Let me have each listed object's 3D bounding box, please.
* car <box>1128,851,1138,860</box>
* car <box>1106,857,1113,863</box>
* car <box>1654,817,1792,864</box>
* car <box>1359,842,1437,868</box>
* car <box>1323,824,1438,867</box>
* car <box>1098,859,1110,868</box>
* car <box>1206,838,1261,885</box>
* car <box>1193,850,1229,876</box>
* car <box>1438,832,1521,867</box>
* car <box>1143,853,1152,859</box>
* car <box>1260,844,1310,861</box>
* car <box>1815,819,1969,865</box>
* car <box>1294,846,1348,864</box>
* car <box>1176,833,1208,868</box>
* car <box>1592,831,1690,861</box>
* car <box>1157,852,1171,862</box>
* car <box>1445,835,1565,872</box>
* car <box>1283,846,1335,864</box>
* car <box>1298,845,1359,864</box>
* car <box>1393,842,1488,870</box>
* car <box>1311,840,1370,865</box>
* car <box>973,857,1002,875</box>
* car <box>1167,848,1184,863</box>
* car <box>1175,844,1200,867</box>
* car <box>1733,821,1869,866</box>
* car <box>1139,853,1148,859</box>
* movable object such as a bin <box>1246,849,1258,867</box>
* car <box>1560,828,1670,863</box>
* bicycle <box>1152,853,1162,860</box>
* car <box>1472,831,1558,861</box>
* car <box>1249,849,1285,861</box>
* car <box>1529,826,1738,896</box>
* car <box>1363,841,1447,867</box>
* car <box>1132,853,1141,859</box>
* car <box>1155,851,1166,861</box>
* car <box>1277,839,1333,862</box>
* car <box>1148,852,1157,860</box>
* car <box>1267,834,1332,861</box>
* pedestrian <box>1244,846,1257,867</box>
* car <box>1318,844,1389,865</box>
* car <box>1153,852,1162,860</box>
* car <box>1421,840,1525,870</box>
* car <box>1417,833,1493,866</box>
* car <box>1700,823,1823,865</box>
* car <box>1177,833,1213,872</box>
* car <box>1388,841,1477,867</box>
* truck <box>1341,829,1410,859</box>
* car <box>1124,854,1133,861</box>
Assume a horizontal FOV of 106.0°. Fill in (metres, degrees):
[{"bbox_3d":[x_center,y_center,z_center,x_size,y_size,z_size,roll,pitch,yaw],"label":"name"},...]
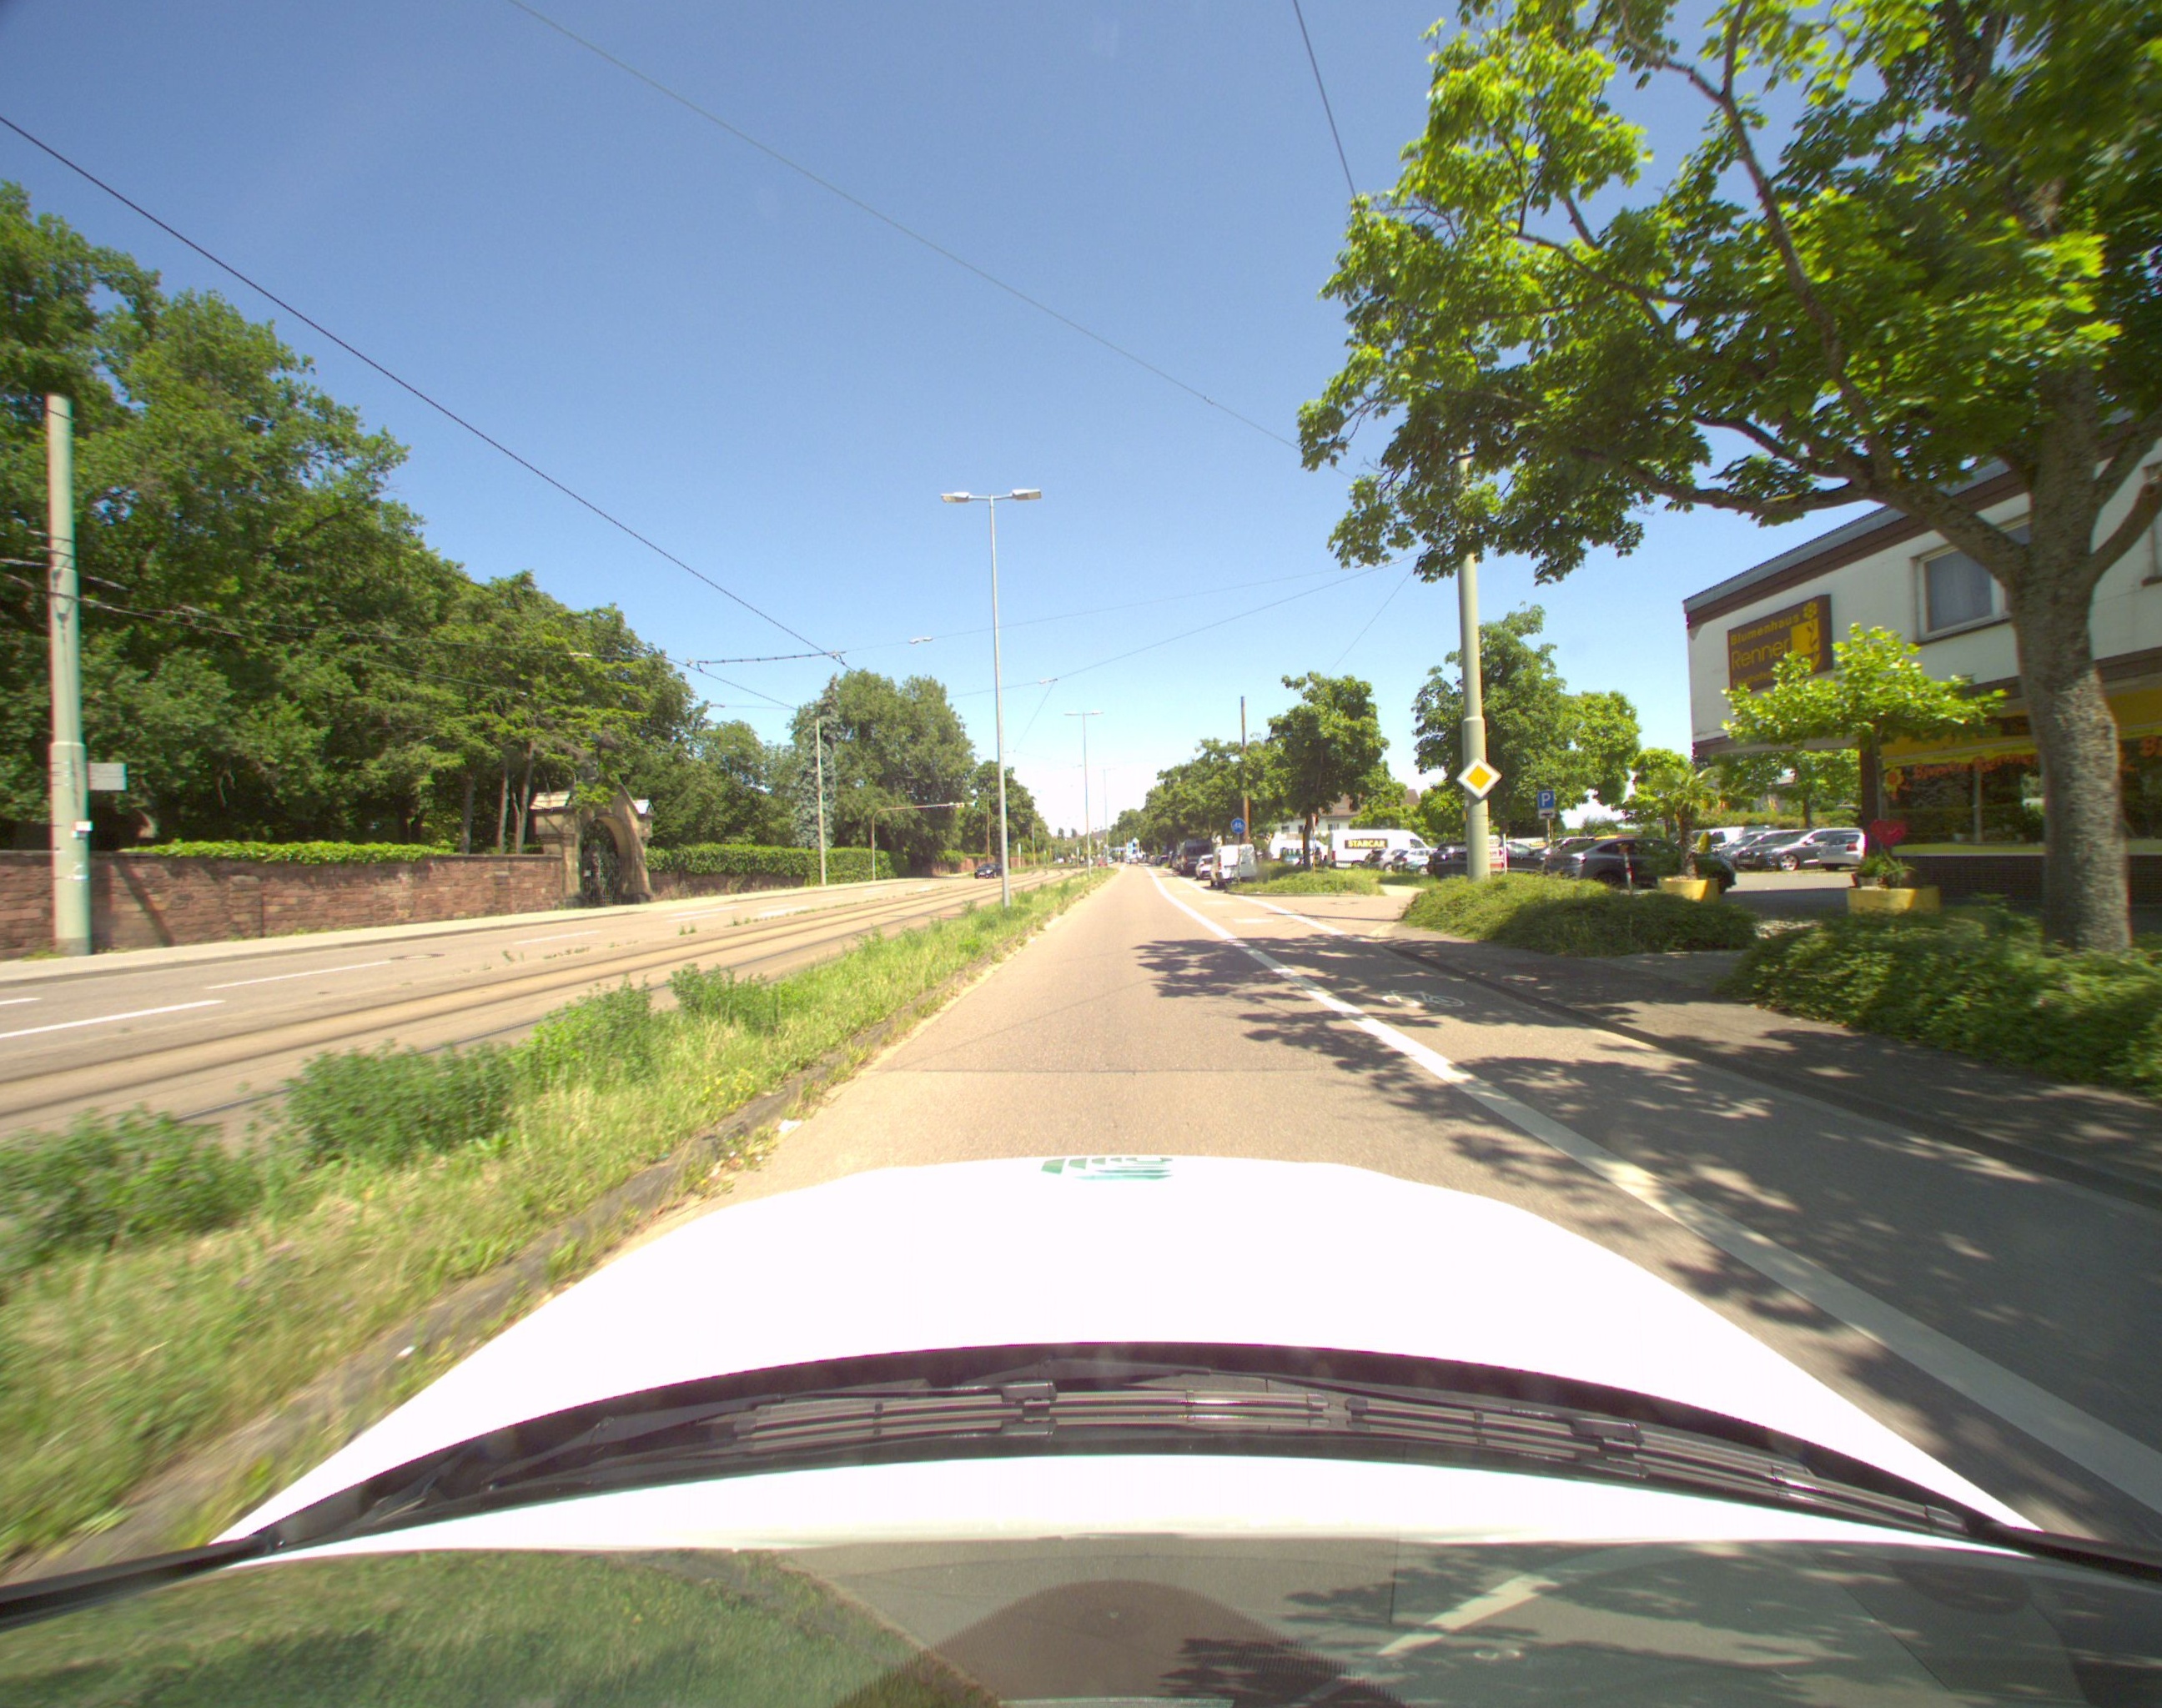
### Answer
[{"bbox_3d":[10.710,0.358,167.499,1.747,1.630,4.330,-4,0,5],"label":"car"},{"bbox_3d":[9.102,1.970,261.811,1.988,2.014,3.998,1,-1,-1],"label":"car"},{"bbox_3d":[30.341,-0.635,38.626,4.897,1.900,1.910,-3,0,2],"label":"car"},{"bbox_3d":[18.254,0.041,47.065,3.872,1.472,1.728,0,0,1],"label":"car"},{"bbox_3d":[18.286,-0.505,49.969,6.308,2.529,2.267,0,0,6],"label":"car"},{"bbox_3d":[4.063,1.638,142.476,1.698,1.414,4.288,-1,0,5],"label":"car"},{"bbox_3d":[7.039,0.320,38.019,1.871,1.916,5.130,-4,0,4],"label":"car"},{"bbox_3d":[7.917,0.542,49.754,1.714,1.428,4.213,-4,0,4],"label":"car"},{"bbox_3d":[31.482,-0.352,64.443,5.466,2.459,2.097,-3,0,4],"label":"car"},{"bbox_3d":[17.310,0.547,211.326,1.702,1.492,5.036,-4,0,-1],"label":"car"},{"bbox_3d":[20.589,-0.167,82.284,4.671,1.644,1.956,0,0,4],"label":"car"},{"bbox_3d":[30.447,-0.435,30.653,3.962,1.444,1.634,-3,0,4],"label":"car"},{"bbox_3d":[19.470,0.055,66.131,3.872,1.406,1.728,0,0,1],"label":"car"},{"bbox_3d":[9.172,-0.271,67.940,1.989,2.636,6.148,-4,0,3],"label":"car"},{"bbox_3d":[31.740,-0.438,46.249,4.291,1.436,1.634,-3,0,4],"label":"car"},{"bbox_3d":[13.089,0.479,128.813,1.834,1.436,4.826,-4,0,1],"label":"car"},{"bbox_3d":[17.673,-0.015,34.060,4.182,1.490,1.680,0,0,2],"label":"car"},{"bbox_3d":[19.170,0.080,68.473,3.875,1.406,1.727,0,0,-2],"label":"car"},{"bbox_3d":[19.169,0.040,63.282,4.261,1.406,1.728,0,0,1],"label":"car"},{"bbox_3d":[17.358,0.090,39.468,3.871,1.325,1.729,0,0,2],"label":"car"},{"bbox_3d":[19.199,-0.132,60.401,3.768,1.784,1.953,0,0,-1],"label":"car"},{"bbox_3d":[-8.049,1.034,70.484,1.747,1.448,4.129,0,0,5],"label":"car"},{"bbox_3d":[11.234,0.242,97.201,1.705,1.632,4.712,-4,-1,3],"label":"car"},{"bbox_3d":[9.706,0.148,74.626,1.988,1.878,5.283,-4,0,5],"label":"car"},{"bbox_3d":[29.640,-0.428,33.599,3.962,1.601,1.670,-3,0,4],"label":"car"},{"bbox_3d":[17.113,0.590,222.538,1.705,1.562,4.315,-4,0,-6],"label":"car"},{"bbox_3d":[13.427,0.331,63.931,0.789,1.352,0.890,-2,0,3],"label":"movable object such as a bin"},{"bbox_3d":[32.000,-0.492,48.931,5.131,1.752,2.097,-3,0,4],"label":"car"},{"bbox_3d":[15.488,0.556,166.256,1.764,1.228,0.685,-7,-1,7],"label":"bicycle"},{"bbox_3d":[31.548,-0.557,59.309,5.074,1.876,2.097,-3,0,4],"label":"car"},{"bbox_3d":[21.199,0.150,92.951,3.842,1.358,1.772,0,0,4],"label":"car"},{"bbox_3d":[14.291,0.183,21.248,4.125,1.611,1.944,-2,0,0],"label":"car"},{"bbox_3d":[17.610,-0.010,44.359,3.877,1.380,1.726,0,0,-3],"label":"car"},{"bbox_3d":[16.162,0.660,238.508,1.753,1.630,4.315,-4,0,-6],"label":"car"},{"bbox_3d":[14.220,0.315,146.398,1.832,1.706,4.632,-4,0,5],"label":"car"},{"bbox_3d":[19.617,-0.309,71.365,4.393,1.909,1.953,0,0,-1],"label":"car"},{"bbox_3d":[17.107,0.431,194.445,1.833,1.694,4.783,-4,0,4],"label":"car"},{"bbox_3d":[19.867,-0.575,74.355,5.465,2.459,2.097,0,0,4],"label":"car"},{"bbox_3d":[13.488,0.199,64.851,0.801,1.625,0.944,-2,0,3],"label":"pedestrian"},{"bbox_3d":[19.315,0.038,57.797,4.391,1.505,1.954,0,0,0],"label":"car"},{"bbox_3d":[15.763,0.490,168.286,1.512,1.529,3.820,-4,0,4],"label":"car"},{"bbox_3d":[17.555,0.048,36.617,3.871,1.281,1.729,0,0,2],"label":"car"},{"bbox_3d":[32.297,-0.399,70.382,5.466,2.459,2.097,-3,0,4],"label":"car"},{"bbox_3d":[30.349,-0.454,36.420,3.962,1.604,1.634,-3,0,4],"label":"car"},{"bbox_3d":[8.492,-0.097,61.022,1.989,2.636,6.084,-4,0,3],"label":"car"},{"bbox_3d":[18.028,0.005,41.872,3.871,1.325,1.729,0,0,2],"label":"car"},{"bbox_3d":[33.976,-1.158,94.030,6.919,3.085,2.426,-3,0,2],"label":"truck"},{"bbox_3d":[12.356,0.920,213.500,1.752,1.630,4.317,-4,0,-4],"label":"car"}]
